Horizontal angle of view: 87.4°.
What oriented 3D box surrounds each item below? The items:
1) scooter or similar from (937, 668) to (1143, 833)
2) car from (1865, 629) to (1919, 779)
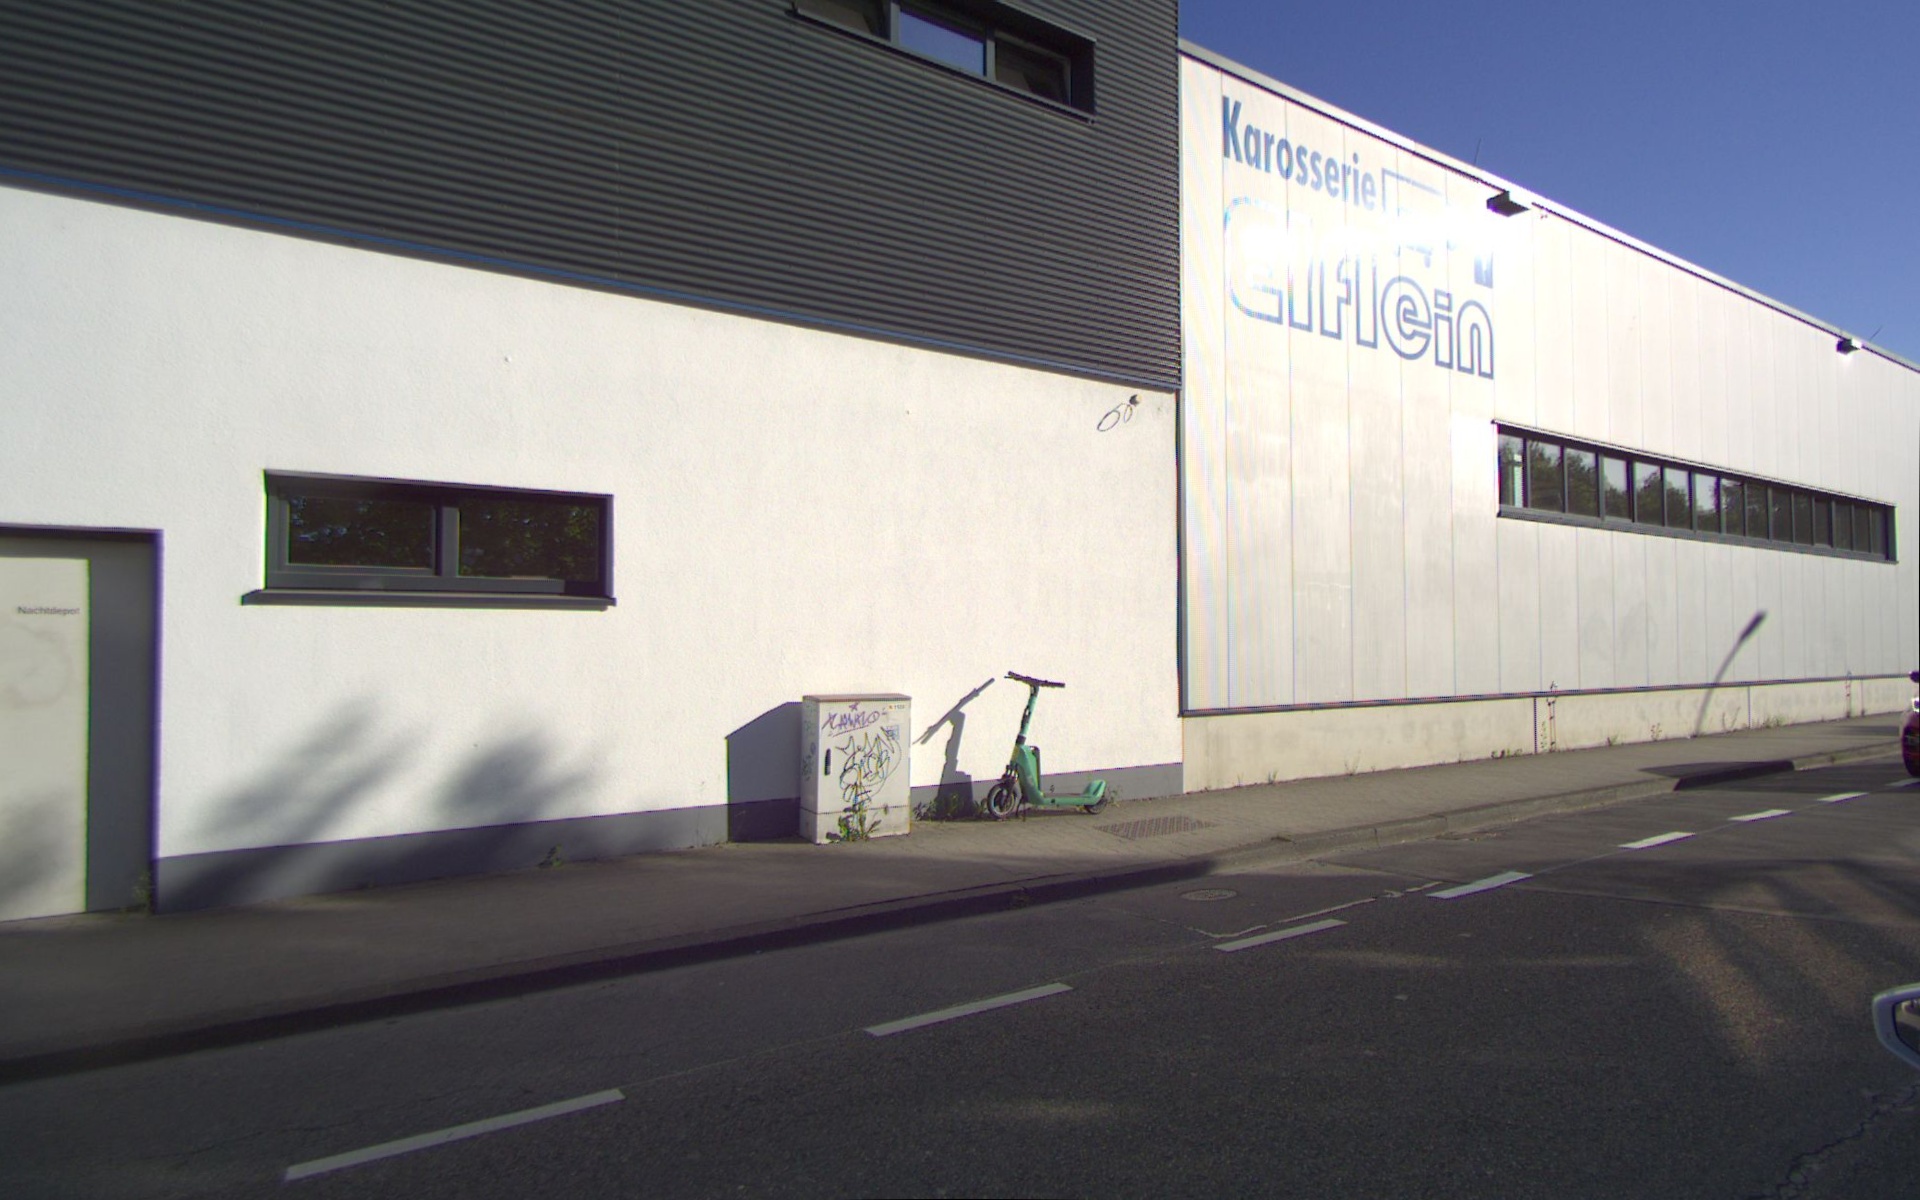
[{"bbox_3d":[0.695,1.209,8.424,1.734,1.219,0.504,2,1,-32],"label":"scooter or similar"},{"bbox_3d":[12.000,1.098,11.187,4.030,1.559,1.712,2,-6,-32],"label":"car"}]
